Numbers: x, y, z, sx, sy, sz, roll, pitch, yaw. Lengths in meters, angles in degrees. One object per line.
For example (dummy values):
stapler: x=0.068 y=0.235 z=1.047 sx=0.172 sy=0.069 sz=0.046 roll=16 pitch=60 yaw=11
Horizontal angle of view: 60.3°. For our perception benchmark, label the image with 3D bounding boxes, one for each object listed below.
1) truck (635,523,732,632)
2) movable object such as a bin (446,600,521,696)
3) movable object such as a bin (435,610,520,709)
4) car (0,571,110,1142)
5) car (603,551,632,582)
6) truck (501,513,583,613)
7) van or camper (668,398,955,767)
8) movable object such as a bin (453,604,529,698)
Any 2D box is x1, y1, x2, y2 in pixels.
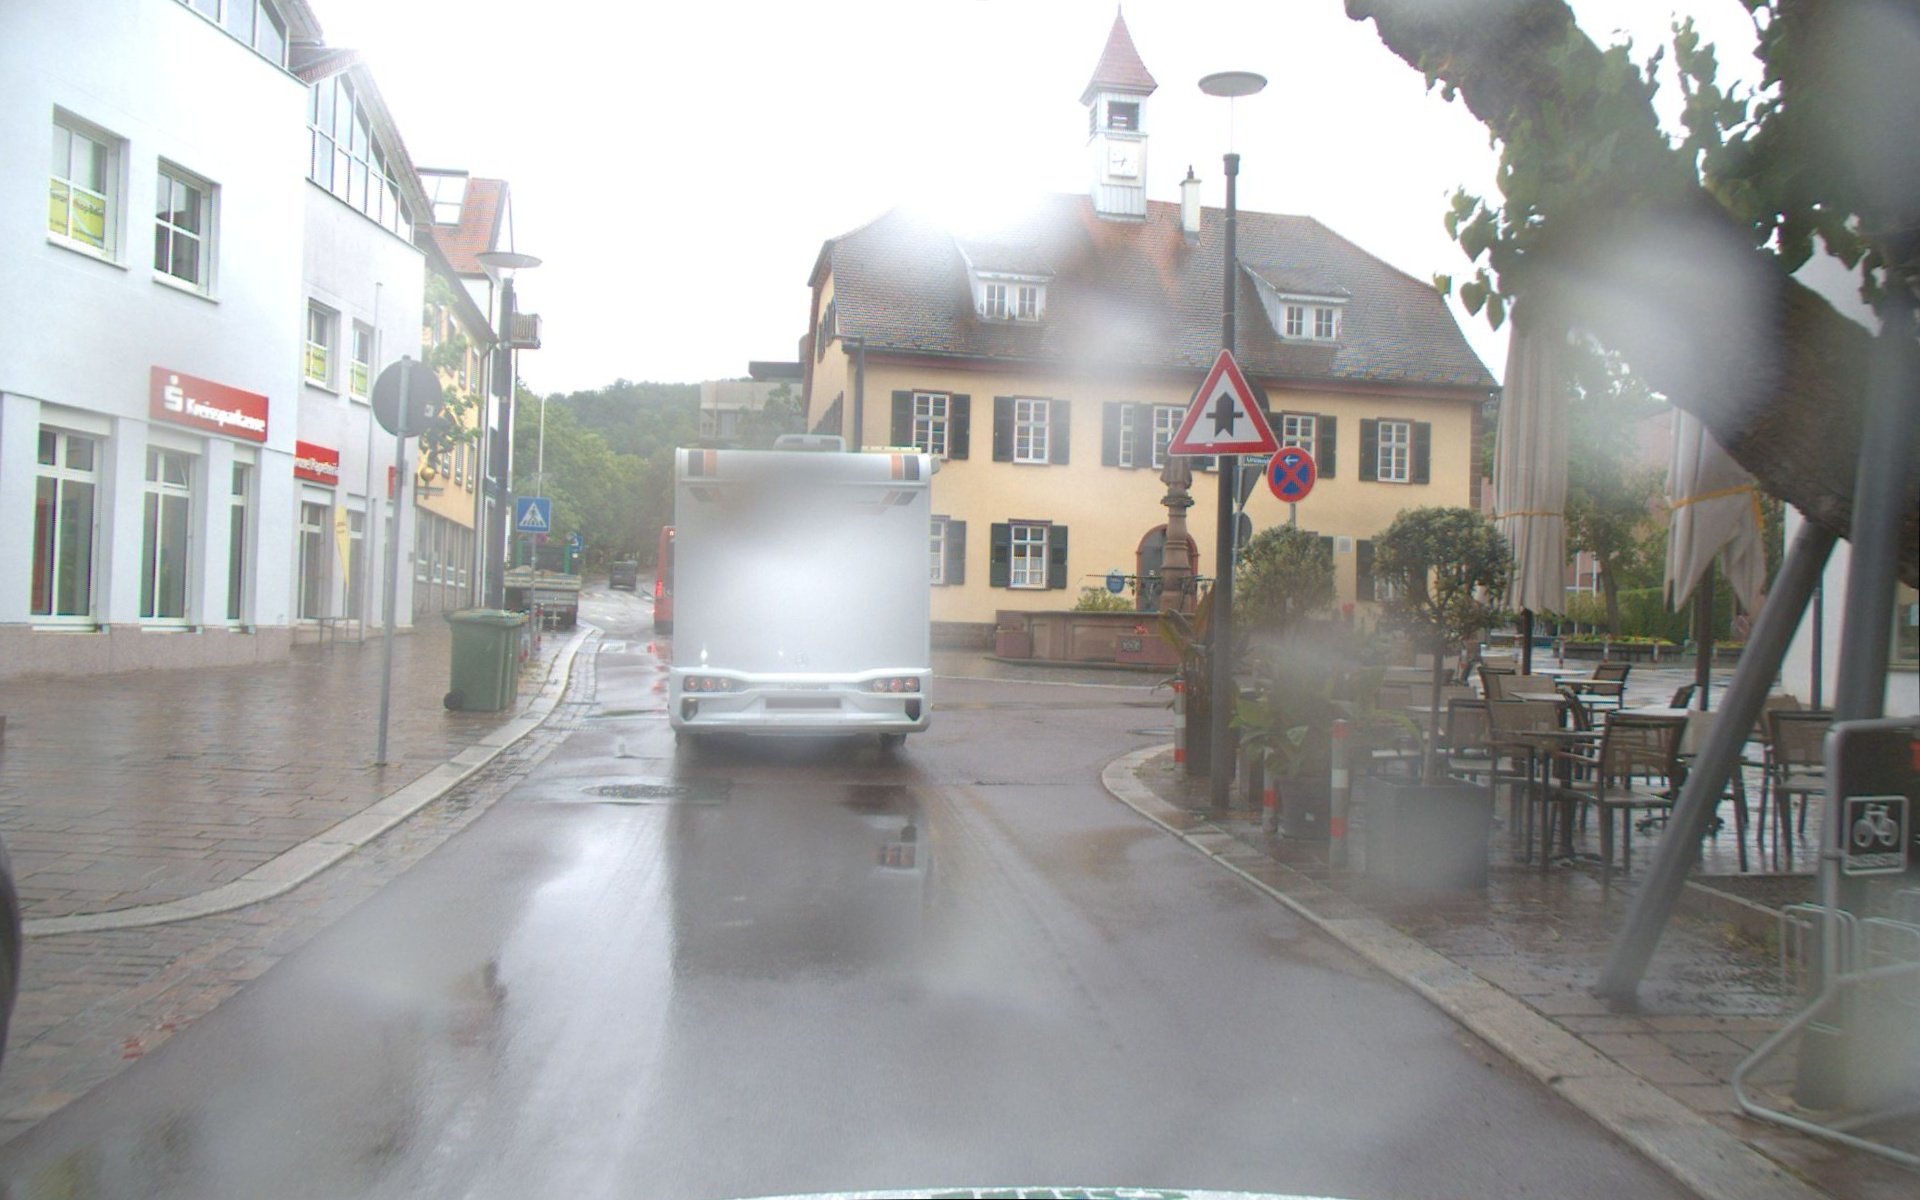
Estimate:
truck: x=-8.327 y=-0.596 z=49.421 sx=2.419 sy=2.991 sz=6.176 roll=1 pitch=-1 yaw=-13
movable object such as a bin: x=-5.474 y=0.551 z=19.026 sx=0.751 sy=1.069 sz=0.522 roll=1 pitch=-1 yaw=-10
movable object such as a bin: x=-5.353 y=0.656 z=18.381 sx=0.803 sy=1.069 sz=0.698 roll=1 pitch=-1 yaw=-10
car: x=-3.313 y=0.665 z=2.912 sx=1.956 sy=1.520 sz=3.993 roll=3 pitch=0 yaw=-8
car: x=-24.599 y=-2.405 z=118.742 sx=1.959 sy=2.049 sz=3.987 roll=1 pitch=-1 yaw=-13
truck: x=-12.641 y=-1.038 z=50.274 sx=2.241 sy=2.806 sz=5.549 roll=1 pitch=-1 yaw=-13
van or camper: x=-1.609 y=-0.079 z=16.715 sx=2.282 sy=2.970 sz=6.382 roll=1 pitch=-1 yaw=-7
movable object such as a bin: x=-5.610 y=0.606 z=19.814 sx=0.751 sy=1.069 sz=0.522 roll=4 pitch=-2 yaw=-10
